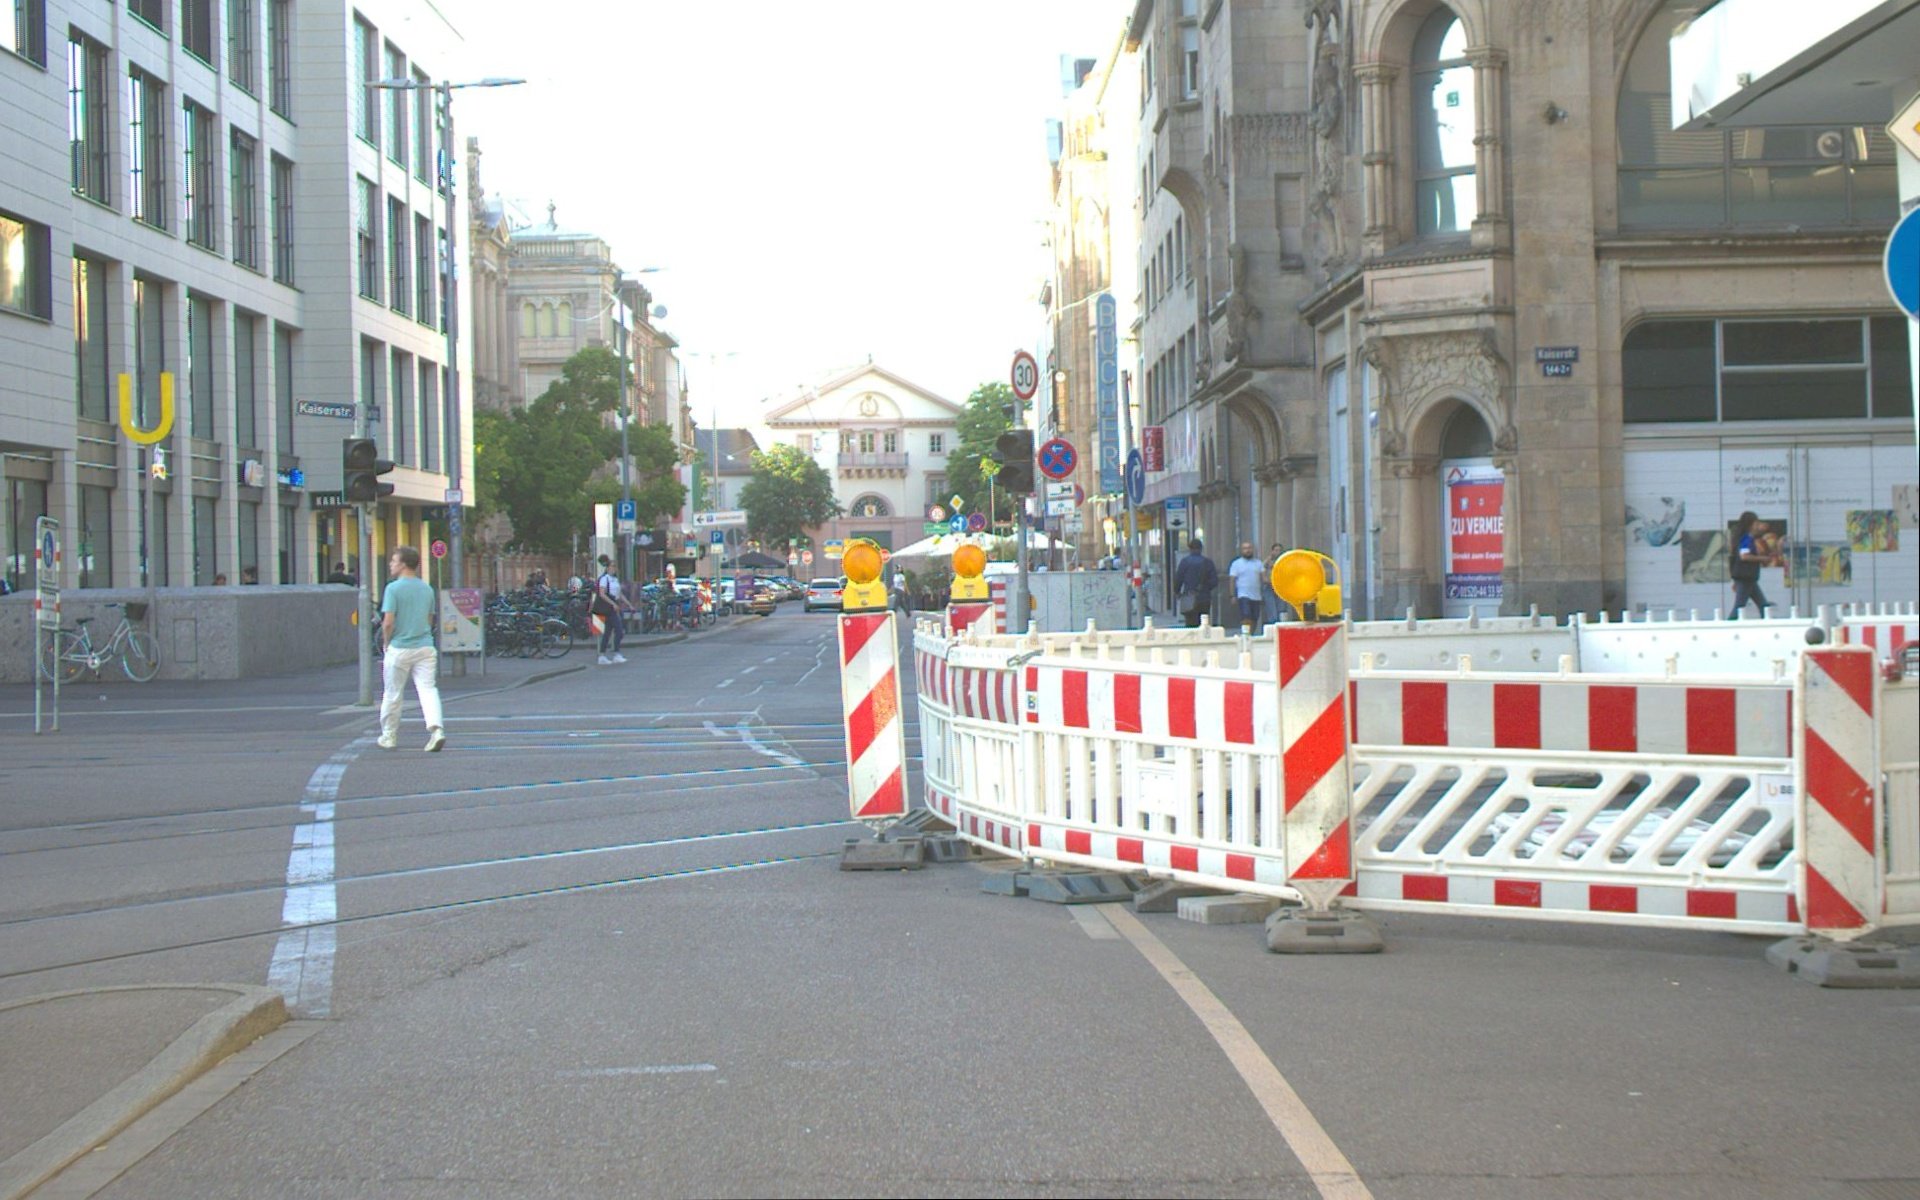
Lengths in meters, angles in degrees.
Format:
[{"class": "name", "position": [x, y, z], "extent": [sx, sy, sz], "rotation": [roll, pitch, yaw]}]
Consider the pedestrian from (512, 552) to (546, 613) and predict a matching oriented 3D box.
[{"class": "pedestrian", "position": [-10.799, -0.442, 86.132], "extent": [0.751, 1.524, 0.485], "rotation": [-1, 1, -1]}]

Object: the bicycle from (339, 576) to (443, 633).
[{"class": "bicycle", "position": [-11.292, 0.084, 68.276], "extent": [1.967, 1.118, 0.558], "rotation": [0, 1, -29]}]

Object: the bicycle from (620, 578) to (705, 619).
[{"class": "bicycle", "position": [-7.880, -0.035, 91.068], "extent": [2.148, 1.026, 0.640], "rotation": [-1, 1, 2]}]

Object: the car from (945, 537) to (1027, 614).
[{"class": "car", "position": [0.552, -0.551, 76.594], "extent": [1.679, 1.608, 4.028], "rotation": [-2, 1, -1]}]

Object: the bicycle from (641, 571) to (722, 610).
[{"class": "bicycle", "position": [-7.741, -0.275, 95.608], "extent": [2.148, 1.026, 0.640], "rotation": [-1, 1, 2]}]

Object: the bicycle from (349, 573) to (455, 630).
[{"class": "bicycle", "position": [-10.929, 0.025, 67.328], "extent": [1.967, 1.118, 0.558], "rotation": [0, 1, -29]}]

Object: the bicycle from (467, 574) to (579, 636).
[{"class": "bicycle", "position": [-8.016, 0.081, 63.133], "extent": [1.967, 1.118, 0.558], "rotation": [0, 1, -29]}]

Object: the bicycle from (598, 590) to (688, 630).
[{"class": "bicycle", "position": [-7.867, 0.253, 85.425], "extent": [2.148, 0.950, 0.640], "rotation": [-1, 1, 2]}]

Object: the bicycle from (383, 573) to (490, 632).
[{"class": "bicycle", "position": [-10.062, 0.041, 66.096], "extent": [1.967, 1.118, 0.558], "rotation": [0, 1, -29]}]

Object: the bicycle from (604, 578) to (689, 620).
[{"class": "bicycle", "position": [-8.220, -0.028, 90.277], "extent": [2.148, 1.026, 0.640], "rotation": [-1, 1, 2]}]

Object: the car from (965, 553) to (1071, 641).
[{"class": "car", "position": [0.978, -0.073, 59.646], "extent": [1.679, 1.419, 3.673], "rotation": [2, 1, -1]}]

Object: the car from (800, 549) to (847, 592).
[{"class": "car", "position": [-6.095, -1.327, 153.722], "extent": [1.993, 1.897, 4.000], "rotation": [0, 1, -1]}]

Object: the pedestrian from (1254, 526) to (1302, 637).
[{"class": "pedestrian", "position": [4.898, -0.282, 52.938], "extent": [0.625, 1.684, 0.626], "rotation": [-1, 1, -2]}]

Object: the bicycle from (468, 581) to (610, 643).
[{"class": "bicycle", "position": [-9.053, 0.258, 73.950], "extent": [2.886, 1.251, 0.804], "rotation": [-2, 1, -26]}]

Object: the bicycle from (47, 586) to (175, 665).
[{"class": "bicycle", "position": [-12.050, 0.360, 48.812], "extent": [1.696, 1.118, 0.451], "rotation": [0, 0, 2]}]

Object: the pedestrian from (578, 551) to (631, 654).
[{"class": "pedestrian", "position": [-6.006, 0.038, 58.030], "extent": [0.834, 1.715, 0.682], "rotation": [-1, 1, -8]}]

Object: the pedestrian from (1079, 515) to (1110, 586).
[{"class": "pedestrian", "position": [3.200, -1.180, 81.941], "extent": [0.643, 1.684, 0.671], "rotation": [-1, 1, -2]}]

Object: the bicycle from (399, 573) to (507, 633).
[{"class": "bicycle", "position": [-9.652, 0.050, 65.454], "extent": [1.967, 1.118, 0.558], "rotation": [0, 1, -29]}]

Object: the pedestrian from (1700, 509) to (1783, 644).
[{"class": "pedestrian", "position": [9.409, -0.288, 41.401], "extent": [0.819, 1.605, 0.713], "rotation": [0, 0, -1]}]

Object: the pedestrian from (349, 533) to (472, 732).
[{"class": "pedestrian", "position": [-4.901, 0.282, 30.697], "extent": [0.866, 1.755, 0.767], "rotation": [0, 0, 12]}]

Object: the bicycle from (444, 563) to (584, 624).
[{"class": "bicycle", "position": [-9.748, -0.146, 75.160], "extent": [2.886, 1.251, 0.804], "rotation": [-2, 1, -26]}]

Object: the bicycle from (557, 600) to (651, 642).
[{"class": "bicycle", "position": [-8.515, 0.508, 82.312], "extent": [2.148, 0.950, 0.640], "rotation": [-1, 1, 2]}]

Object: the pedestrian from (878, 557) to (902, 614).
[{"class": "pedestrian", "position": [-2.257, -0.466, 111.132], "extent": [0.599, 1.817, 0.452], "rotation": [-1, 1, -21]}]

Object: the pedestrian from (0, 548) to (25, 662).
[{"class": "pedestrian", "position": [-14.817, 0.075, 52.787], "extent": [0.782, 1.745, 0.600], "rotation": [0, 0, -3]}]

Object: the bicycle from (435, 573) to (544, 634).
[{"class": "bicycle", "position": [-8.839, 0.062, 64.600], "extent": [1.967, 1.118, 0.558], "rotation": [0, 1, -29]}]

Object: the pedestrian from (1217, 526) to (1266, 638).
[{"class": "pedestrian", "position": [4.282, -0.276, 52.353], "extent": [0.625, 1.684, 0.671], "rotation": [-1, 1, -2]}]

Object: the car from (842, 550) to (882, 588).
[{"class": "car", "position": [-5.009, -1.600, 176.554], "extent": [1.993, 1.897, 4.000], "rotation": [0, 1, -1]}]

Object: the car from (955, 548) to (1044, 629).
[{"class": "car", "position": [0.780, -0.250, 70.160], "extent": [1.679, 1.542, 3.673], "rotation": [-2, 1, -1]}]

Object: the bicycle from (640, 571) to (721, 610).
[{"class": "bicycle", "position": [-7.676, -0.264, 94.573], "extent": [2.148, 1.026, 0.640], "rotation": [-1, 1, 2]}]

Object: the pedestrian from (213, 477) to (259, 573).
[{"class": "pedestrian", "position": [-12.631, -1.303, 59.987], "extent": [0.680, 1.675, 0.600], "rotation": [0, 0, -3]}]

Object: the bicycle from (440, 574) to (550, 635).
[{"class": "bicycle", "position": [-8.636, 0.071, 63.883], "extent": [1.967, 1.118, 0.558], "rotation": [0, 1, -29]}]

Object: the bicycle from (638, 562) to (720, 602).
[{"class": "bicycle", "position": [-7.664, -0.493, 93.801], "extent": [2.148, 1.026, 0.640], "rotation": [-1, 1, 2]}]

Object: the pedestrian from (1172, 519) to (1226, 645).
[{"class": "pedestrian", "position": [3.252, -0.252, 46.737], "extent": [0.625, 1.684, 0.671], "rotation": [-1, 1, -2]}]

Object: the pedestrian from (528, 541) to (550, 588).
[{"class": "pedestrian", "position": [-14.444, -1.219, 117.956], "extent": [0.679, 1.615, 0.573], "rotation": [-1, 1, -1]}]
